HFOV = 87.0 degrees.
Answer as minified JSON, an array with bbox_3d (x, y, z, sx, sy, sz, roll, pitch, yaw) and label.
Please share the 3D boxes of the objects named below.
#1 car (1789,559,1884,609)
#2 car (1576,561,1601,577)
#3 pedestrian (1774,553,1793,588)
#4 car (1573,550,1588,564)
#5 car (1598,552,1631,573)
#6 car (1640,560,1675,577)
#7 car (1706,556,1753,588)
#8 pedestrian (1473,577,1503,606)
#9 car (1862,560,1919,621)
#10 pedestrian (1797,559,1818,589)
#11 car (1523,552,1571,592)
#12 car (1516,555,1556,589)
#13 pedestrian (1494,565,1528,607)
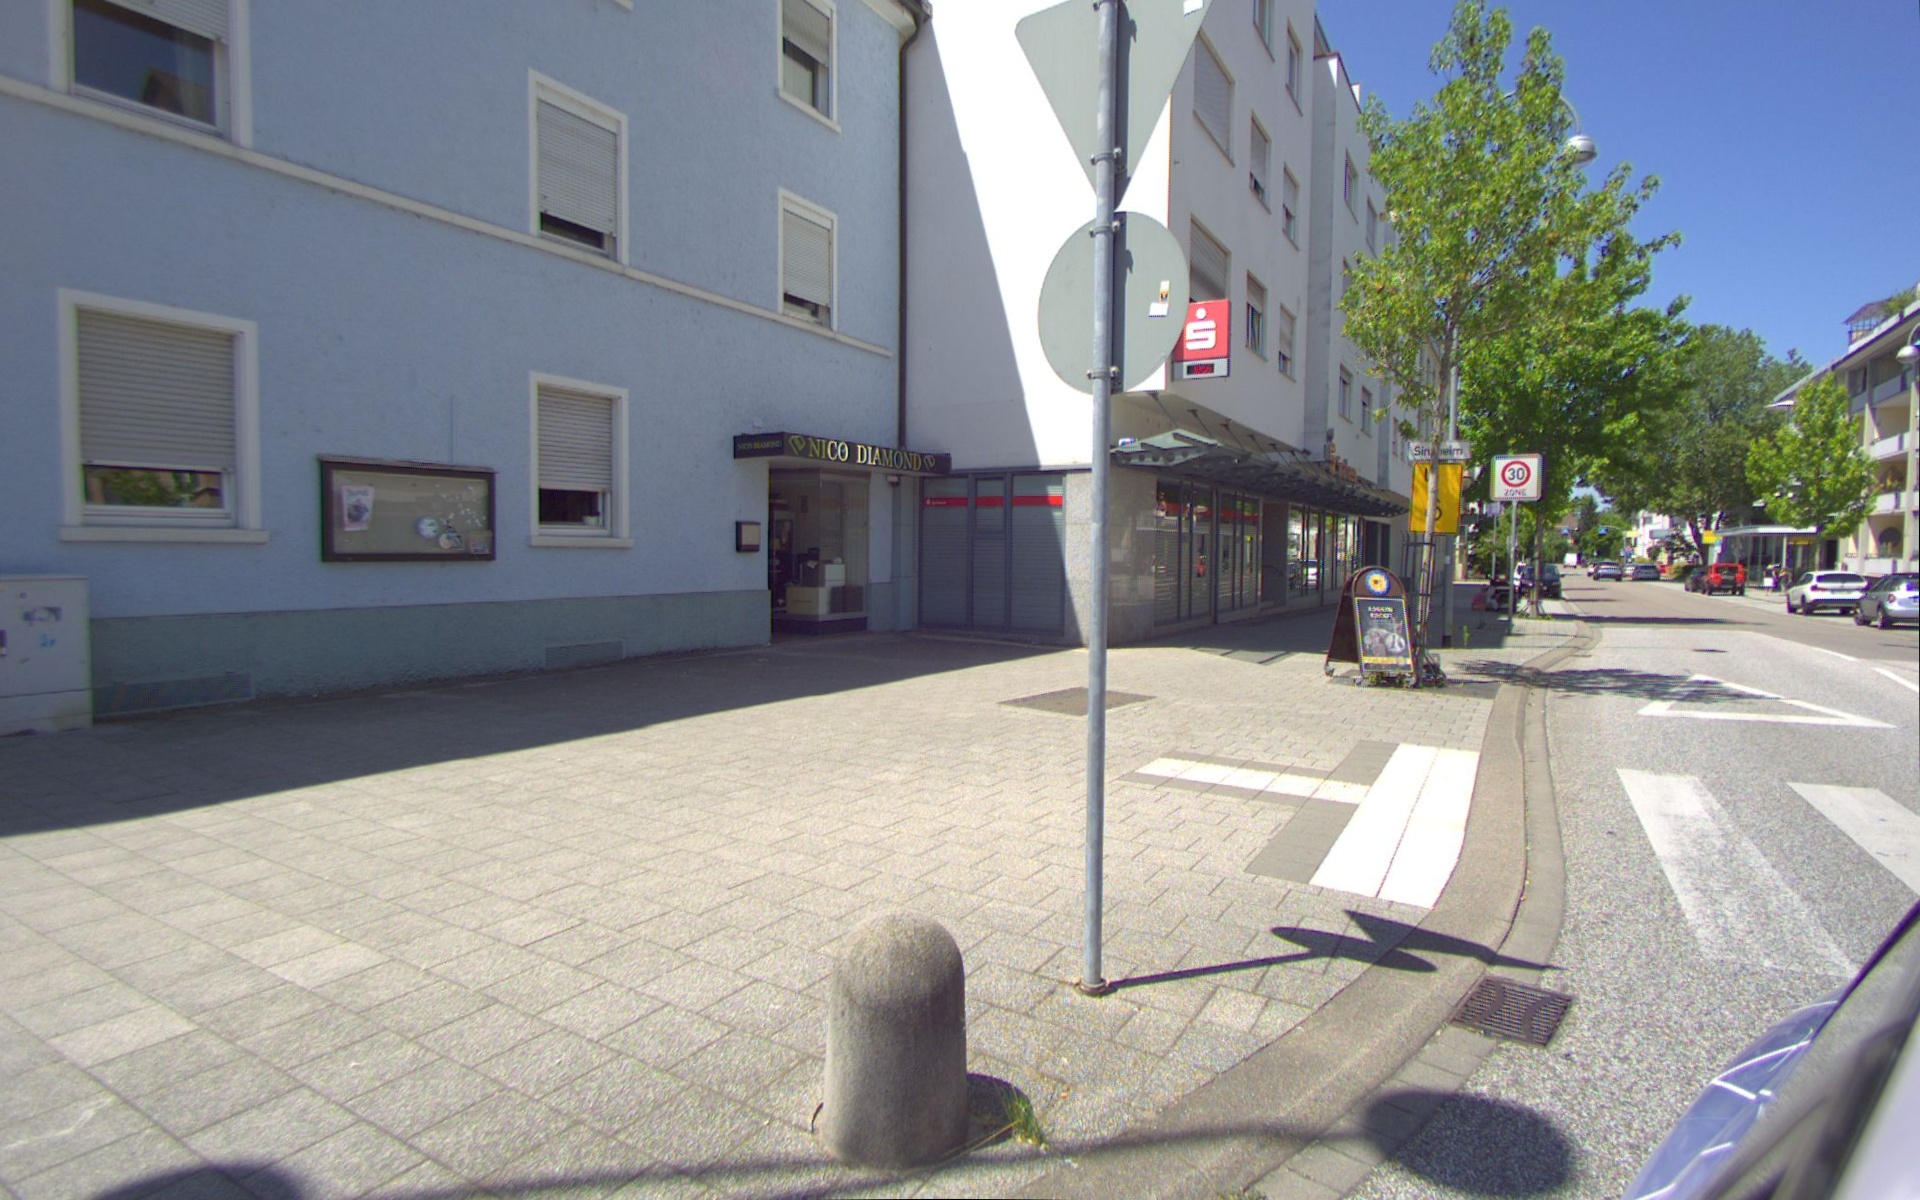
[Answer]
[{"bbox_3d":[30.382,-0.608,35.204,1.687,1.611,4.254,2,3,31],"label":"car"},{"bbox_3d":[66.985,-3.316,107.974,1.759,1.652,4.263,1,3,26],"label":"car"},{"bbox_3d":[43.485,-1.543,53.422,0.674,1.827,0.667,-1,3,-44],"label":"pedestrian"},{"bbox_3d":[114.763,-8.004,187.188,2.215,2.496,5.193,2,3,31],"label":"car"},{"bbox_3d":[56.757,-3.256,87.785,1.889,1.775,4.713,3,3,27],"label":"car"},{"bbox_3d":[62.309,-2.863,90.476,1.980,1.437,3.965,2,3,26],"label":"car"},{"bbox_3d":[41.975,-1.546,55.240,1.632,1.682,3.335,0,2,31],"label":"car"},{"bbox_3d":[16.616,-0.261,31.830,0.678,0.862,0.529,4,4,44],"label":"pedestrian"},{"bbox_3d":[24.940,-0.267,26.246,1.614,1.491,3.511,2,3,31],"label":"car"},{"bbox_3d":[44.527,-1.367,53.194,0.776,1.517,0.687,3,3,42],"label":"pedestrian"},{"bbox_3d":[28.439,-1.389,49.093,1.678,1.742,3.963,5,4,27],"label":"car"},{"bbox_3d":[30.987,-1.535,54.551,1.678,1.743,4.095,2,3,28],"label":"car"},{"bbox_3d":[16.923,-0.446,31.062,0.529,1.255,0.761,-2,4,-44],"label":"pedestrian"}]
